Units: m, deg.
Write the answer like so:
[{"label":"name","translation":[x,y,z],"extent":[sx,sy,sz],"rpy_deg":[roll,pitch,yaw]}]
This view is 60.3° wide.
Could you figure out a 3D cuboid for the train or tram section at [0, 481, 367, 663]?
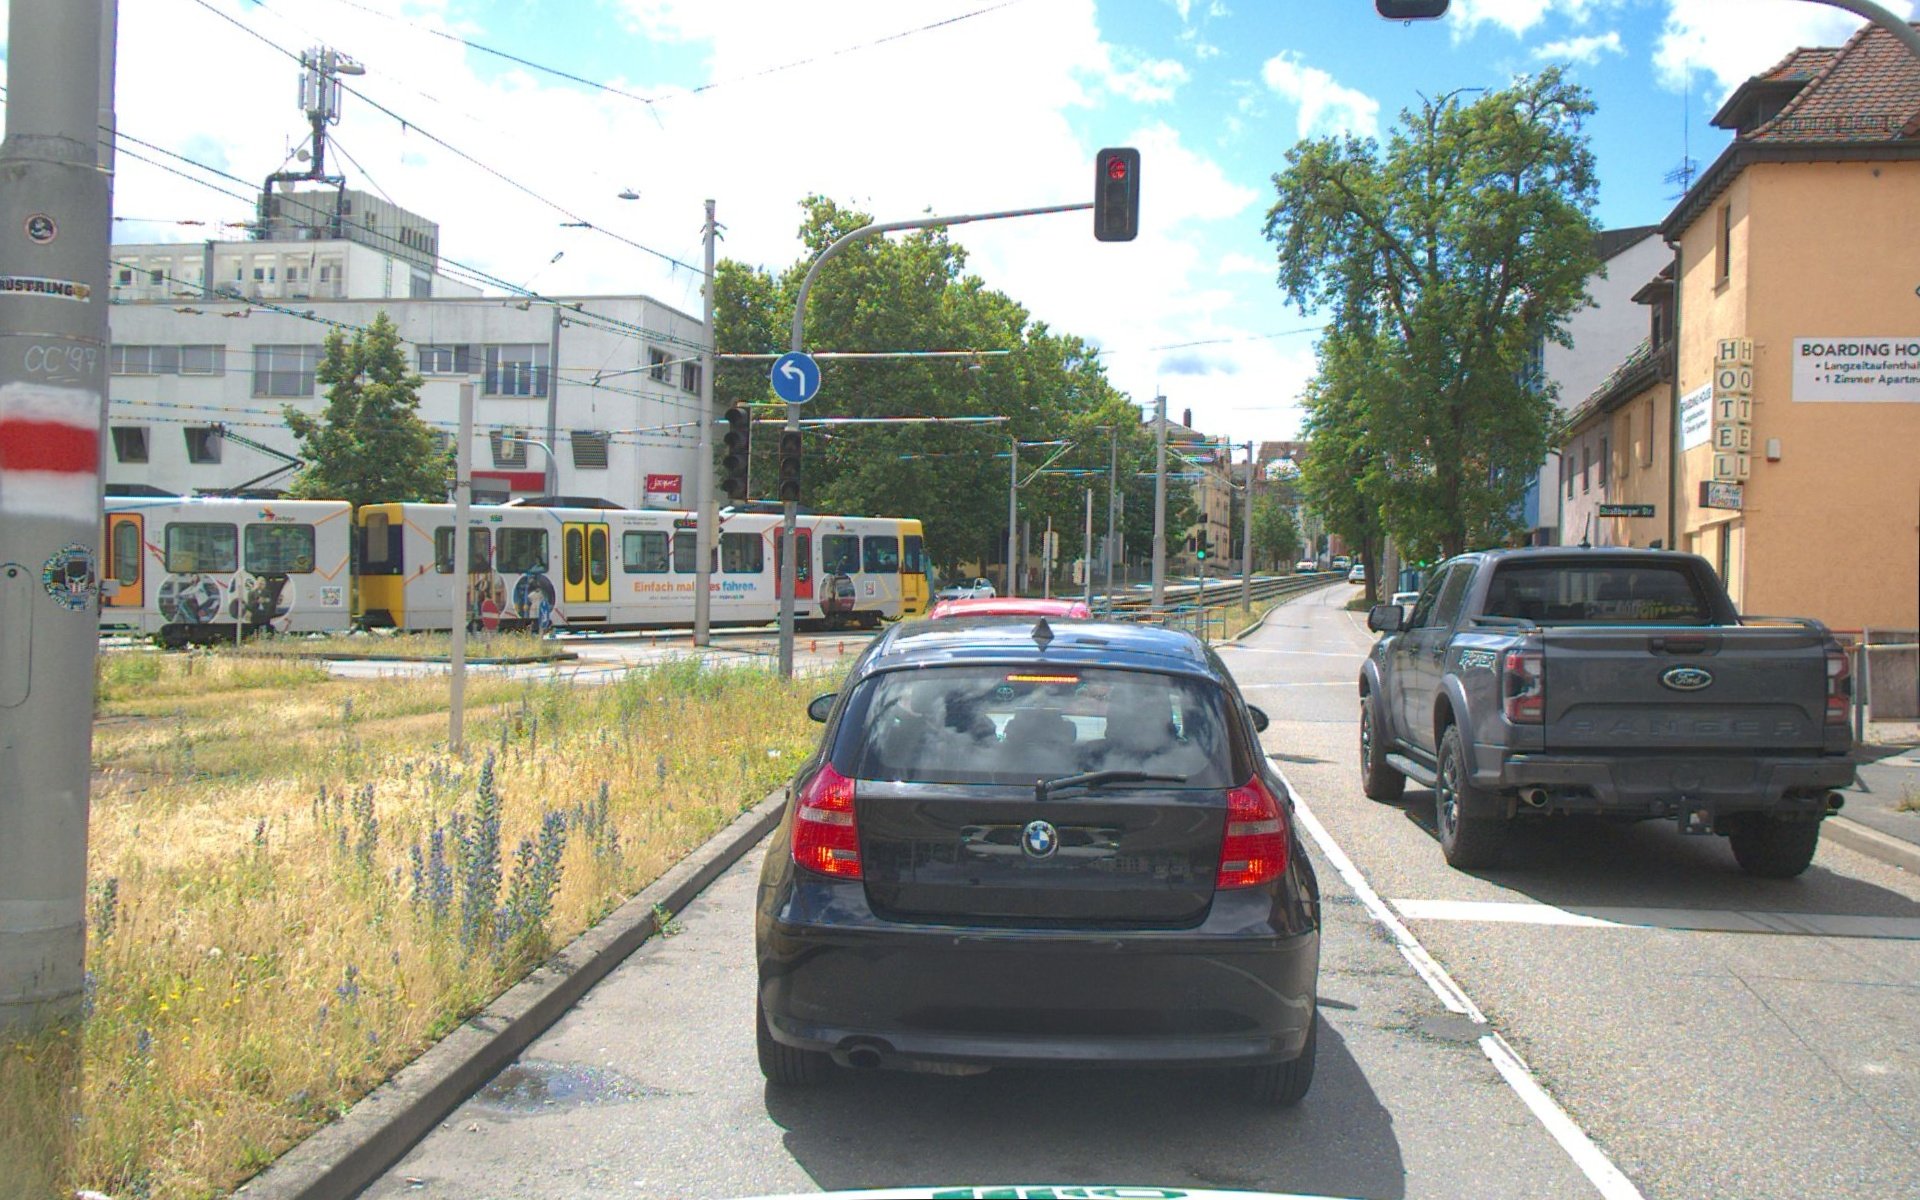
[{"label":"train or tram section","translation":[-23.937,-0.586,36.369],"extent":[20.310,3.947,3.731],"rpy_deg":[0,-1,-26]}]

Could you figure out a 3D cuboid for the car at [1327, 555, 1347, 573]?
[{"label":"car","translation":[47.406,-4.490,207.835],"extent":[1.952,2.049,4.000],"rpy_deg":[-1,-1,21]}]

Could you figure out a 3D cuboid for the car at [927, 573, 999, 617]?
[{"label":"car","translation":[0.163,-0.204,78.010],"extent":[1.814,1.962,4.798],"rpy_deg":[-1,-1,21]}]

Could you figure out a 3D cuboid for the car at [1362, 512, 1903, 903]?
[{"label":"car","translation":[3.951,0.561,10.802],"extent":[1.956,1.920,5.154],"rpy_deg":[0,-1,7]}]

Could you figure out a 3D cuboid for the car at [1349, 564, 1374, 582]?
[{"label":"car","translation":[33.565,-2.235,138.190],"extent":[1.777,1.494,4.002],"rpy_deg":[0,0,18]}]

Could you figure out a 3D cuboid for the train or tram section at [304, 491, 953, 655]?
[{"label":"train or tram section","translation":[-8.374,-0.583,47.593],"extent":[3.697,3.881,19.918],"rpy_deg":[-1,-1,43]}]

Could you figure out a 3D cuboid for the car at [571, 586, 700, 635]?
[{"label":"car","translation":[-11.154,0.370,57.043],"extent":[1.826,1.613,4.144],"rpy_deg":[-1,-1,42]}]

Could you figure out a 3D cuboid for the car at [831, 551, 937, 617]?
[{"label":"car","translation":[-3.158,-0.627,70.167],"extent":[2.089,2.701,5.685],"rpy_deg":[-1,-1,26]}]

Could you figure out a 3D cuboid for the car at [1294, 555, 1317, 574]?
[{"label":"car","translation":[39.404,-4.069,188.408],"extent":[1.952,2.049,4.000],"rpy_deg":[-1,-1,21]}]

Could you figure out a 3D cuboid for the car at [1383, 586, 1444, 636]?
[{"label":"car","translation":[15.361,0.370,56.165],"extent":[1.749,1.624,4.003],"rpy_deg":[0,-1,12]}]

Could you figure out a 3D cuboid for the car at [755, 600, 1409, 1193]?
[{"label":"car","translation":[0.217,0.765,6.207],"extent":[1.667,1.477,3.997],"rpy_deg":[0,-1,-3]}]

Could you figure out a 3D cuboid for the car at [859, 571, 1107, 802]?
[{"label":"car","translation":[0.320,0.587,12.821],"extent":[1.590,1.499,4.002],"rpy_deg":[0,-1,6]}]
